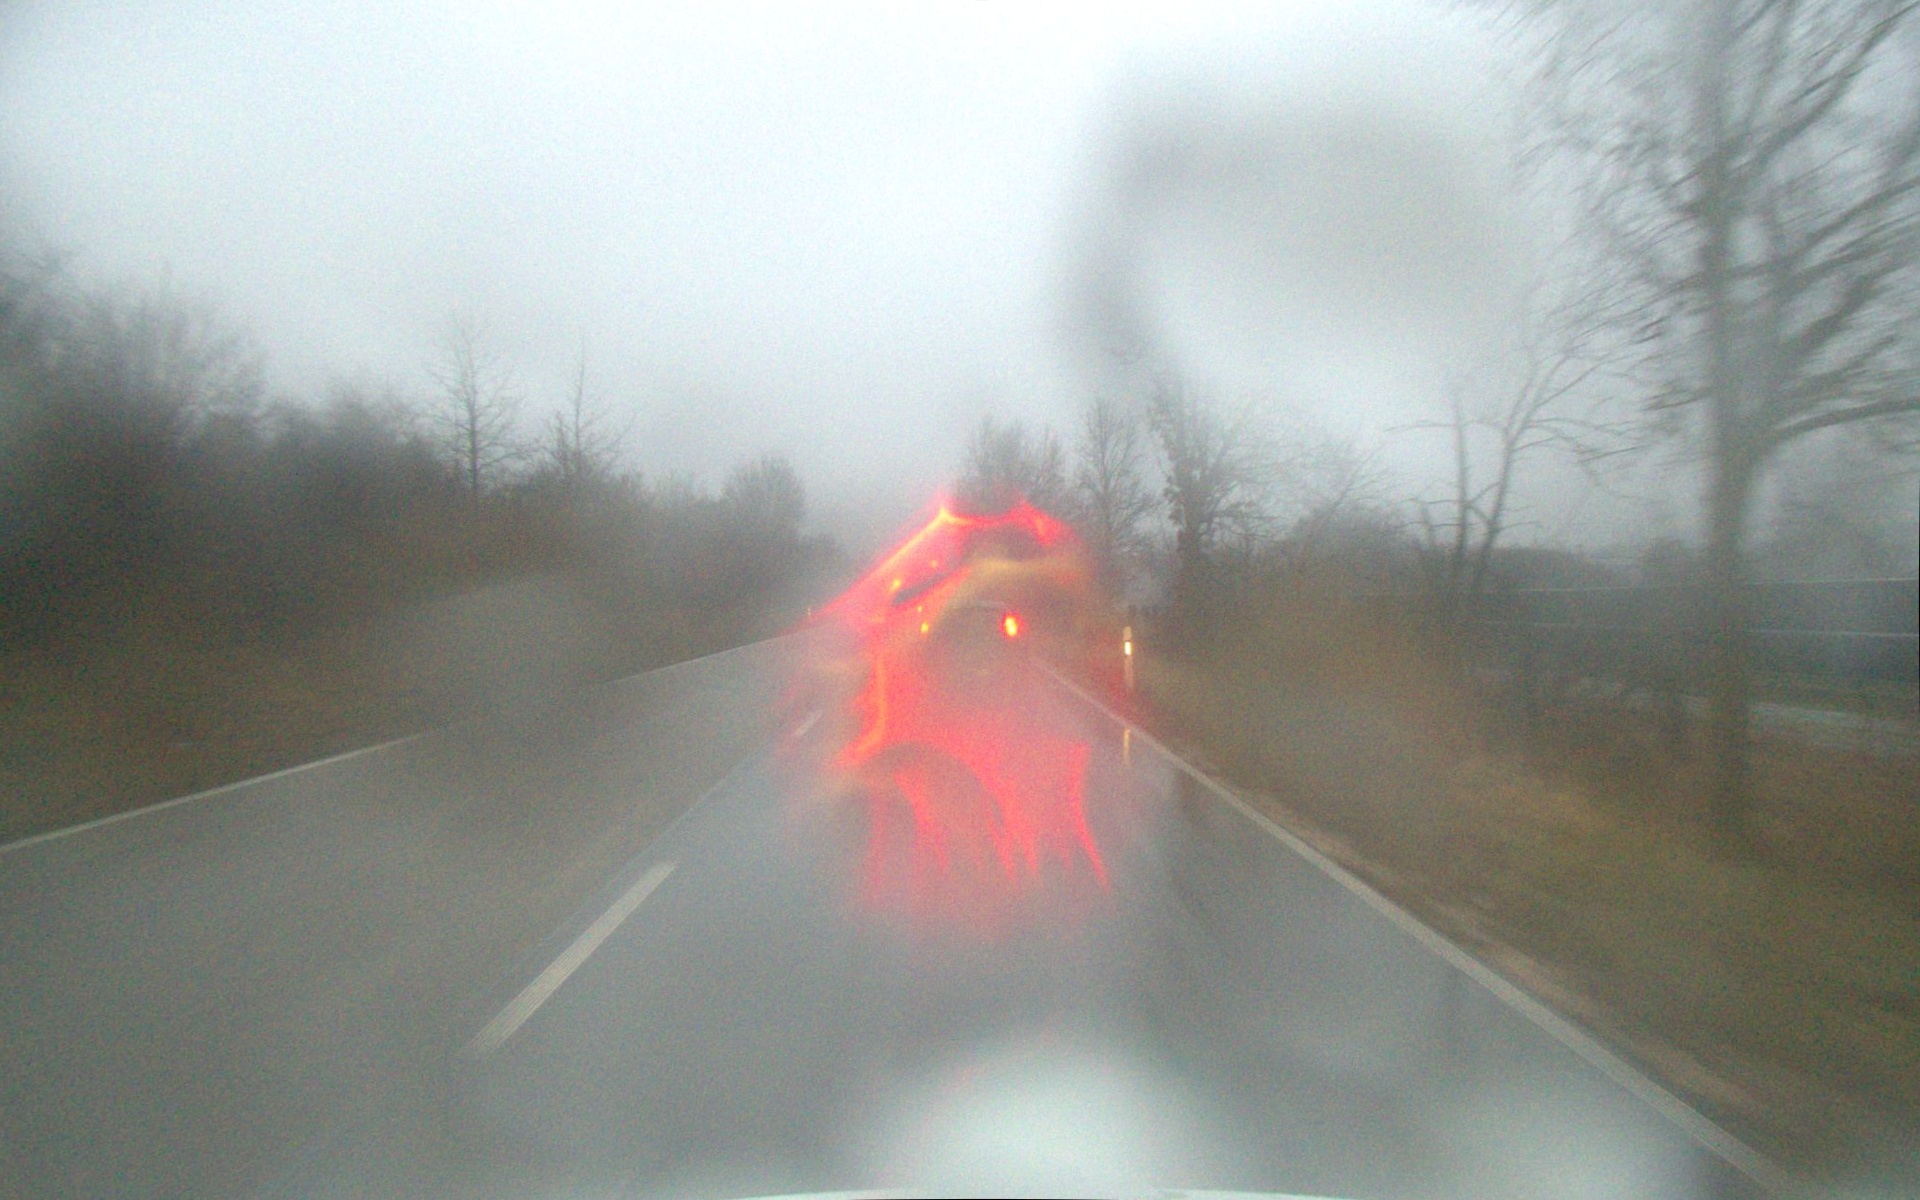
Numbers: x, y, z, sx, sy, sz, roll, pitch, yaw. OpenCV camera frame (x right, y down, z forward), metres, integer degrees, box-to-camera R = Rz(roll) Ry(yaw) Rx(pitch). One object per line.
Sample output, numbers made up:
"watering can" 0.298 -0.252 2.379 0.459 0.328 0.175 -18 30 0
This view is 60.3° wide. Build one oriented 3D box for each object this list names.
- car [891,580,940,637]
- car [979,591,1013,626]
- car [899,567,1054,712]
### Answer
"car" -1.529 0.281 57.903 1.542 1.907 3.709 1 0 1
"car" 1.756 0.397 79.904 1.531 1.619 3.489 1 0 2
"car" 0.244 0.499 23.217 1.952 1.816 4.000 1 0 1
